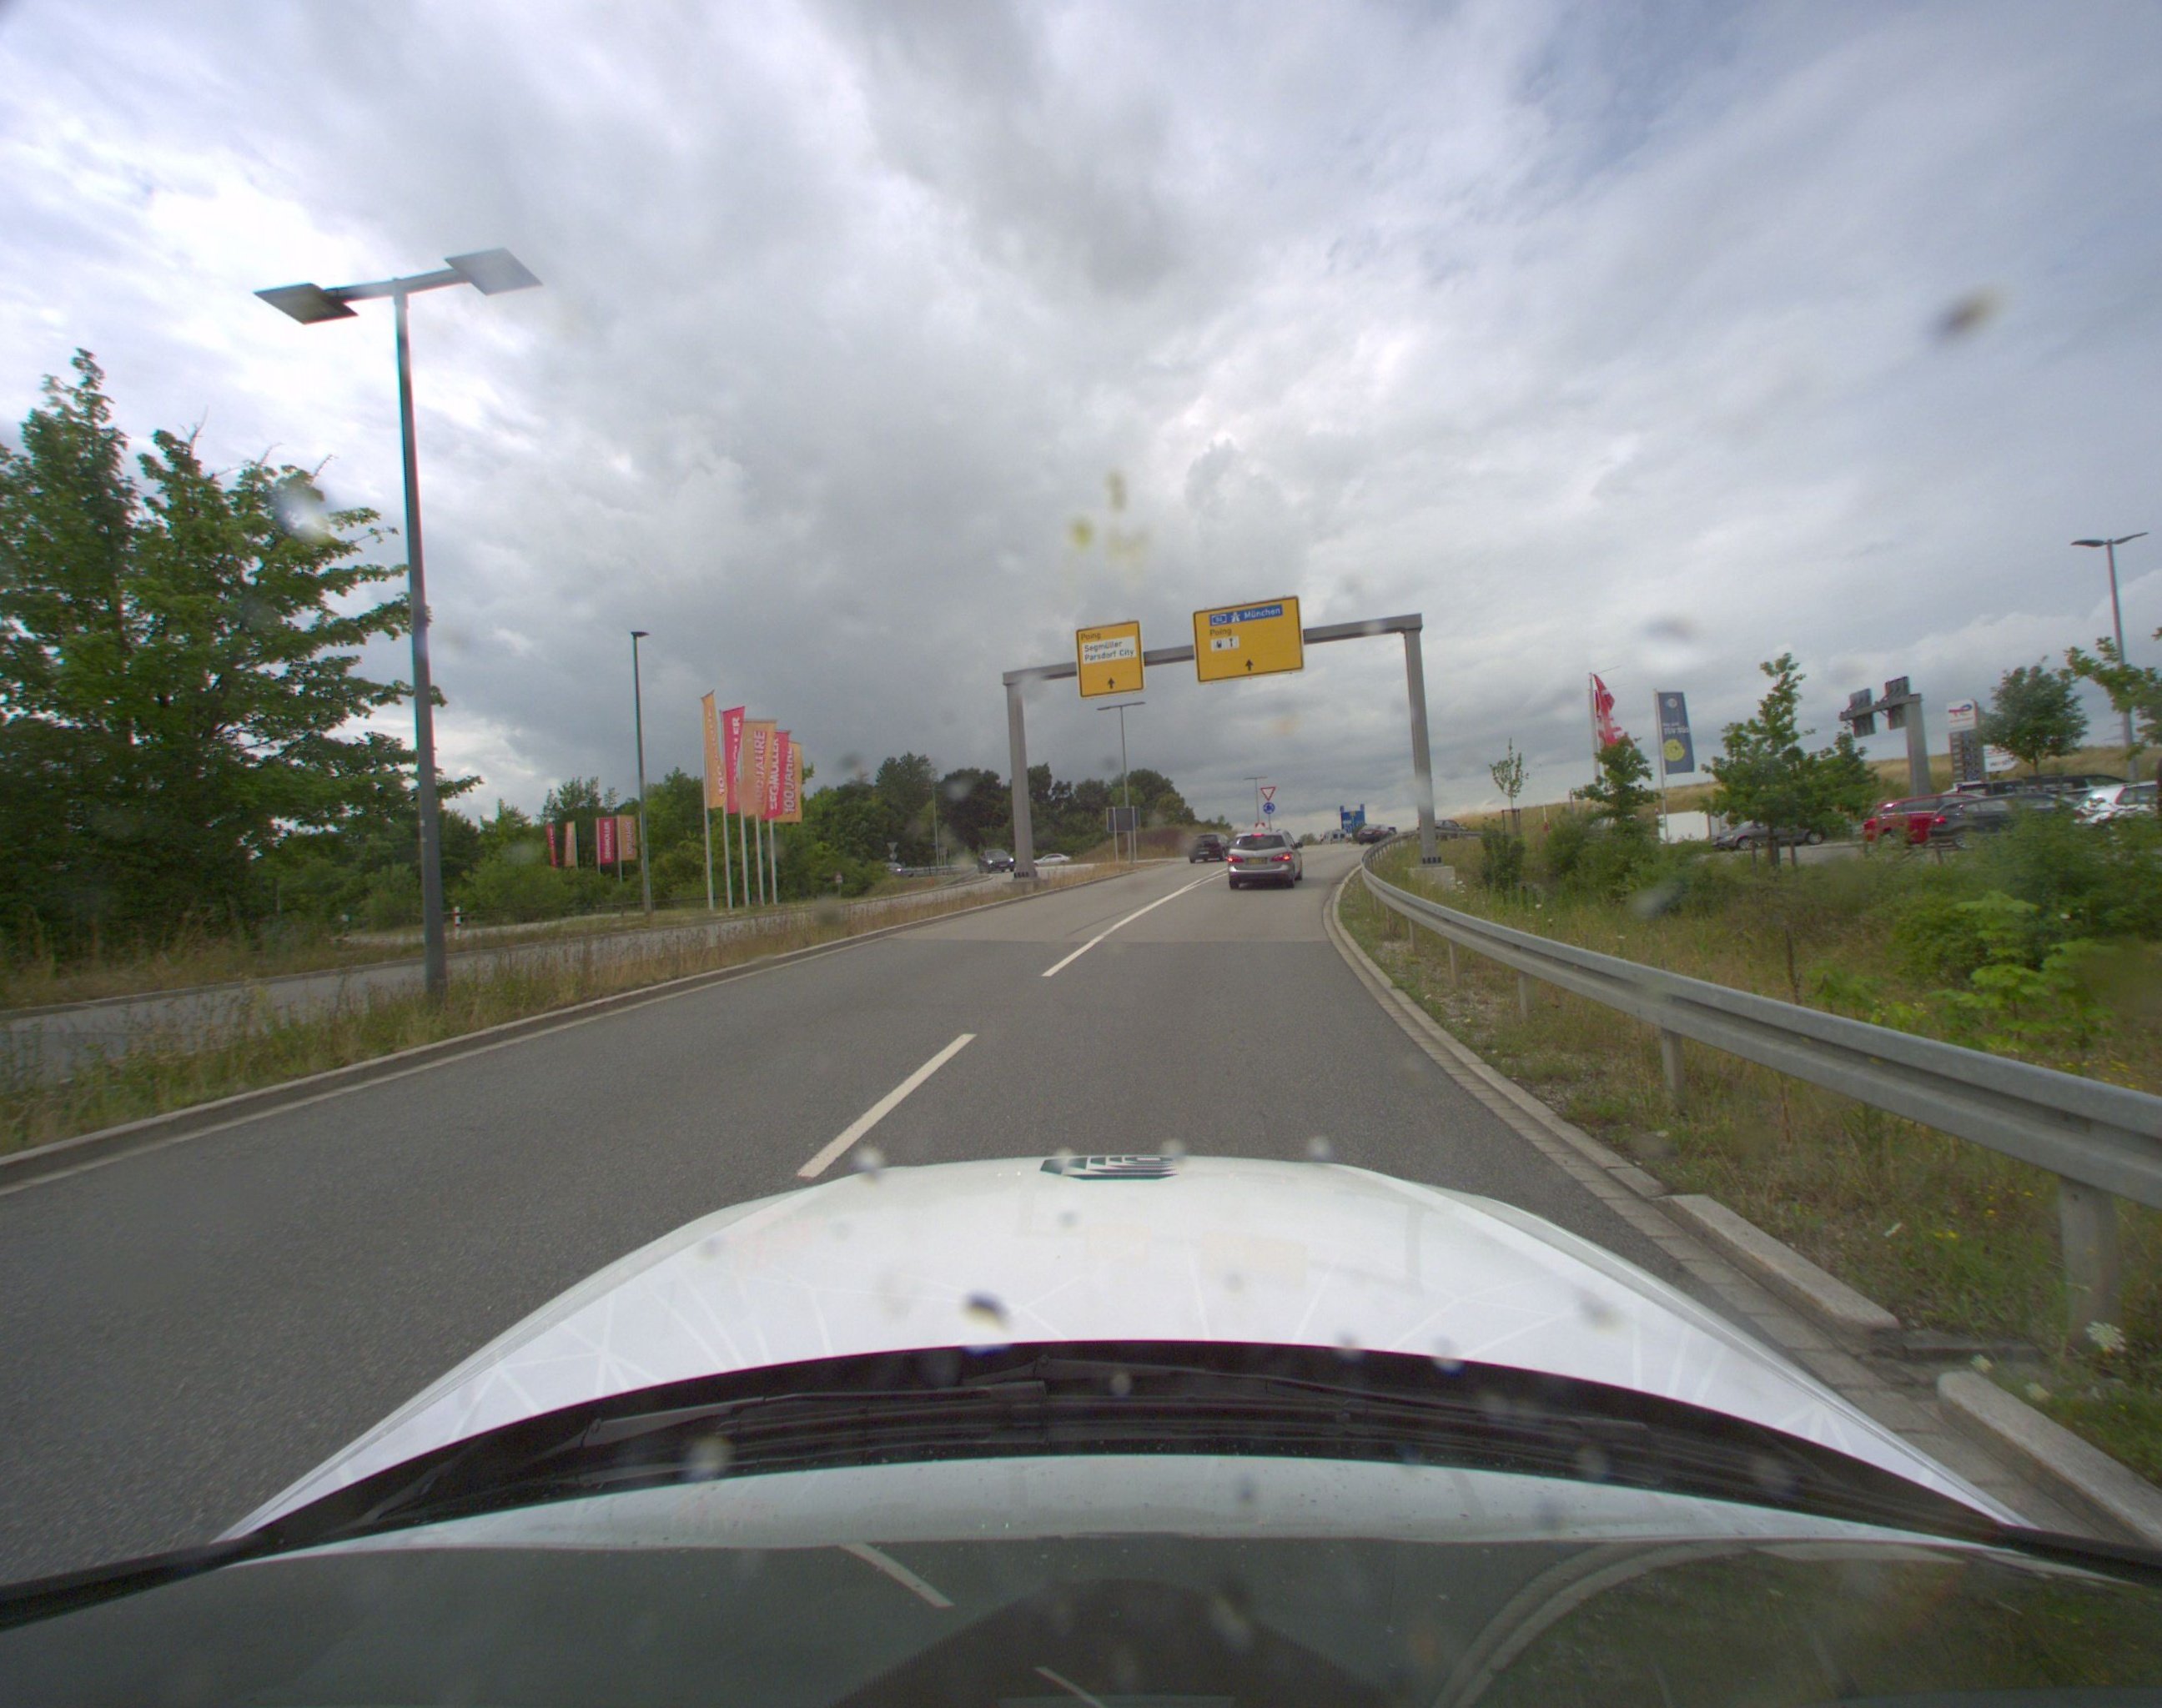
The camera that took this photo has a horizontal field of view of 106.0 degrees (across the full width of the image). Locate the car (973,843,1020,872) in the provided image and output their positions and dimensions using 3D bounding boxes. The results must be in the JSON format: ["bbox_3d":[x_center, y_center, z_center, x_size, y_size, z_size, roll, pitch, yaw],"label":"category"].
[{"bbox_3d":[-5.657,0.284,54.277,1.862,1.664,4.131,-6,1,-22],"label":"car"}]

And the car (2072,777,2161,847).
[{"bbox_3d":[24.832,-1.077,17.840,1.599,1.442,3.720,-4,-2,-33],"label":"car"}]

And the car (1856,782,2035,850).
[{"bbox_3d":[26.211,-1.106,24.788,1.557,1.624,3.424,-4,-2,-34],"label":"car"}]

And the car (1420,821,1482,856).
[{"bbox_3d":[21.794,-0.924,47.938,3.978,1.838,1.639,-4,-1,-40],"label":"car"}]

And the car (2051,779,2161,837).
[{"bbox_3d":[32.381,-1.428,24.647,3.572,1.577,1.601,-4,-1,13],"label":"car"}]

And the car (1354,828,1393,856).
[{"bbox_3d":[20.681,-0.895,57.463,1.878,1.783,4.183,-4,0,29],"label":"car"}]

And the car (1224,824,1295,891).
[{"bbox_3d":[5.072,0.030,23.226,1.755,1.616,3.936,-2,3,12],"label":"car"}]

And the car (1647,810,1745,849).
[{"bbox_3d":[30.443,-1.169,40.430,1.644,1.625,3.562,-4,0,-16],"label":"car"}]

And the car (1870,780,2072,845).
[{"bbox_3d":[32.668,-1.469,30.042,4.768,2.053,1.917,-2,-1,11],"label":"car"}]

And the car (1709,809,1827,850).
[{"bbox_3d":[30.665,-1.082,36.457,3.634,1.483,1.510,-4,-2,16],"label":"car"}]

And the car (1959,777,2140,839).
[{"bbox_3d":[32.327,-1.511,27.290,3.572,1.736,1.601,-4,-1,13],"label":"car"}]

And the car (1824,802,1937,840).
[{"bbox_3d":[39.003,-1.556,39.837,1.688,1.547,3.652,-4,0,-5],"label":"car"}]

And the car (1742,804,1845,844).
[{"bbox_3d":[34.796,-1.441,39.895,1.638,1.693,3.576,-4,0,-5],"label":"car"}]

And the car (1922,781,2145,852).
[{"bbox_3d":[25.132,-0.952,21.616,1.621,1.420,3.598,-4,-2,-34],"label":"car"}]

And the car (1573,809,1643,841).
[{"bbox_3d":[39.232,-2.127,60.703,4.001,2.013,1.805,-4,-1,24],"label":"car"}]

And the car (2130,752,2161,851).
[{"bbox_3d":[23.470,-1.244,15.451,1.888,1.950,4.086,-3,-2,-32],"label":"car"}]
